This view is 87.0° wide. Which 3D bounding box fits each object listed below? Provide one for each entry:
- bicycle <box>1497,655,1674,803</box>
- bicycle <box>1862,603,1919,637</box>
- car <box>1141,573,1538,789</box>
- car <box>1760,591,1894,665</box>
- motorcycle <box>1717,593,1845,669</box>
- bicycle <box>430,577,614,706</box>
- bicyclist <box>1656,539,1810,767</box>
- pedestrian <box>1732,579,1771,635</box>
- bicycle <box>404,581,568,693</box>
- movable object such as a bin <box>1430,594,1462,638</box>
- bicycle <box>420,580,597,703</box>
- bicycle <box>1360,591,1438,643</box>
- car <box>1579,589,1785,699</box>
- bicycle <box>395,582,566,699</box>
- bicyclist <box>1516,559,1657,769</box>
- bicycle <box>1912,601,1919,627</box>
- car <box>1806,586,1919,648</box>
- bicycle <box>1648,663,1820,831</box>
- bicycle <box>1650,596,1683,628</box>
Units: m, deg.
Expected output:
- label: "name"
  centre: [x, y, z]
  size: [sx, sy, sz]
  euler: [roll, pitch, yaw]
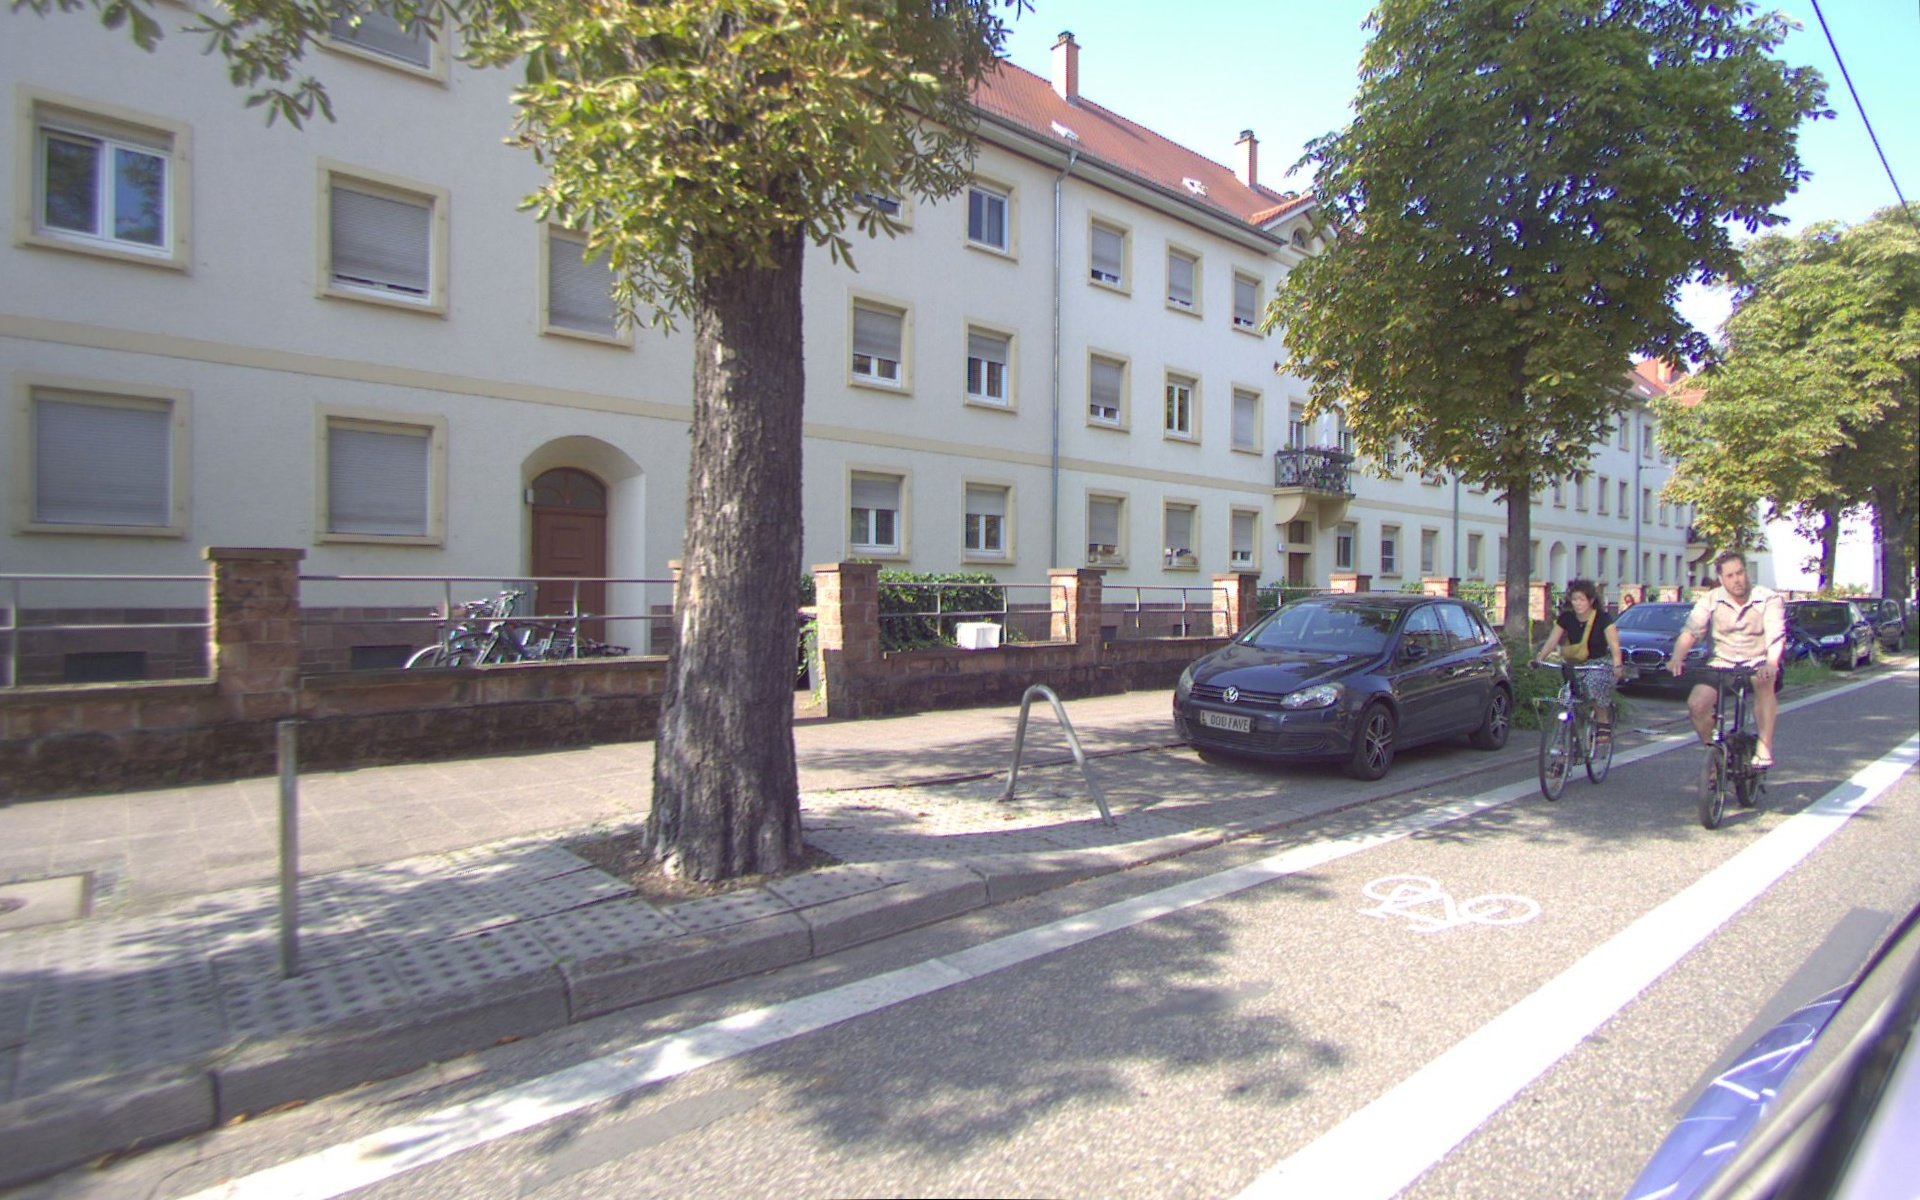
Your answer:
- label: "bicycle"
  centre: [4.795, 0.922, 7.709]
  size: [1.744, 0.920, 0.655]
  euler: [0, -1, -42]
- label: "bicycle"
  centre: [30.019, 0.642, 32.455]
  size: [1.696, 1.087, 0.525]
  euler: [0, 0, 2]
- label: "car"
  centre: [3.618, 0.556, 9.302]
  size: [4.025, 1.520, 1.693]
  euler: [-1, 3, -41]
- label: "car"
  centre: [19.674, 0.564, 22.903]
  size: [4.171, 1.466, 1.649]
  euler: [0, 3, -41]
- label: "motorcycle"
  centre: [16.527, 0.604, 20.409]
  size: [0.693, 1.306, 1.857]
  euler: [7, 0, -43]
- label: "bicycle"
  centre: [-3.918, 0.341, 9.112]
  size: [1.462, 1.073, 0.416]
  euler: [0, 1, -41]
- label: "bicyclist"
  centre: [5.236, 0.335, 6.850]
  size: [0.913, 1.419, 0.627]
  euler: [0, -2, -41]
- label: "pedestrian"
  centre: [25.329, 0.222, 32.398]
  size: [0.861, 1.771, 0.755]
  euler: [0, 0, -34]
- label: "bicycle"
  centre: [-4.840, 0.350, 10.384]
  size: [1.462, 1.073, 0.416]
  euler: [0, 1, -41]
- label: "movable object such as a bin"
  centre: [12.212, 0.388, 25.421]
  size: [0.648, 1.083, 0.507]
  euler: [0, 0, -40]
- label: "bicycle"
  centre: [-4.197, 0.354, 9.471]
  size: [1.462, 1.073, 0.416]
  euler: [0, 1, -41]
- label: "bicycle"
  centre: [9.942, 0.374, 22.864]
  size: [2.294, 1.118, 0.772]
  euler: [0, 0, -43]
- label: "car"
  centre: [11.556, 0.601, 16.096]
  size: [4.261, 1.452, 1.693]
  euler: [0, 3, -41]
- label: "bicycle"
  centre: [-4.672, 0.363, 9.919]
  size: [1.462, 1.073, 0.416]
  euler: [0, 1, -41]
- label: "bicyclist"
  centre: [4.793, 0.456, 7.736]
  size: [0.893, 1.493, 0.655]
  euler: [0, -2, -41]
- label: "bicycle"
  centre: [42.319, 0.630, 44.308]
  size: [2.294, 1.118, 0.772]
  euler: [0, 0, -43]
- label: "car"
  centre: [25.326, 0.439, 28.279]
  size: [3.769, 1.559, 1.651]
  euler: [0, 2, -35]
- label: "bicycle"
  centre: [5.254, 0.933, 6.840]
  size: [1.499, 0.920, 0.627]
  euler: [0, -1, -42]
- label: "bicycle"
  centre: [24.769, 0.403, 35.462]
  size: [1.698, 1.087, 0.524]
  euler: [0, 0, -40]
